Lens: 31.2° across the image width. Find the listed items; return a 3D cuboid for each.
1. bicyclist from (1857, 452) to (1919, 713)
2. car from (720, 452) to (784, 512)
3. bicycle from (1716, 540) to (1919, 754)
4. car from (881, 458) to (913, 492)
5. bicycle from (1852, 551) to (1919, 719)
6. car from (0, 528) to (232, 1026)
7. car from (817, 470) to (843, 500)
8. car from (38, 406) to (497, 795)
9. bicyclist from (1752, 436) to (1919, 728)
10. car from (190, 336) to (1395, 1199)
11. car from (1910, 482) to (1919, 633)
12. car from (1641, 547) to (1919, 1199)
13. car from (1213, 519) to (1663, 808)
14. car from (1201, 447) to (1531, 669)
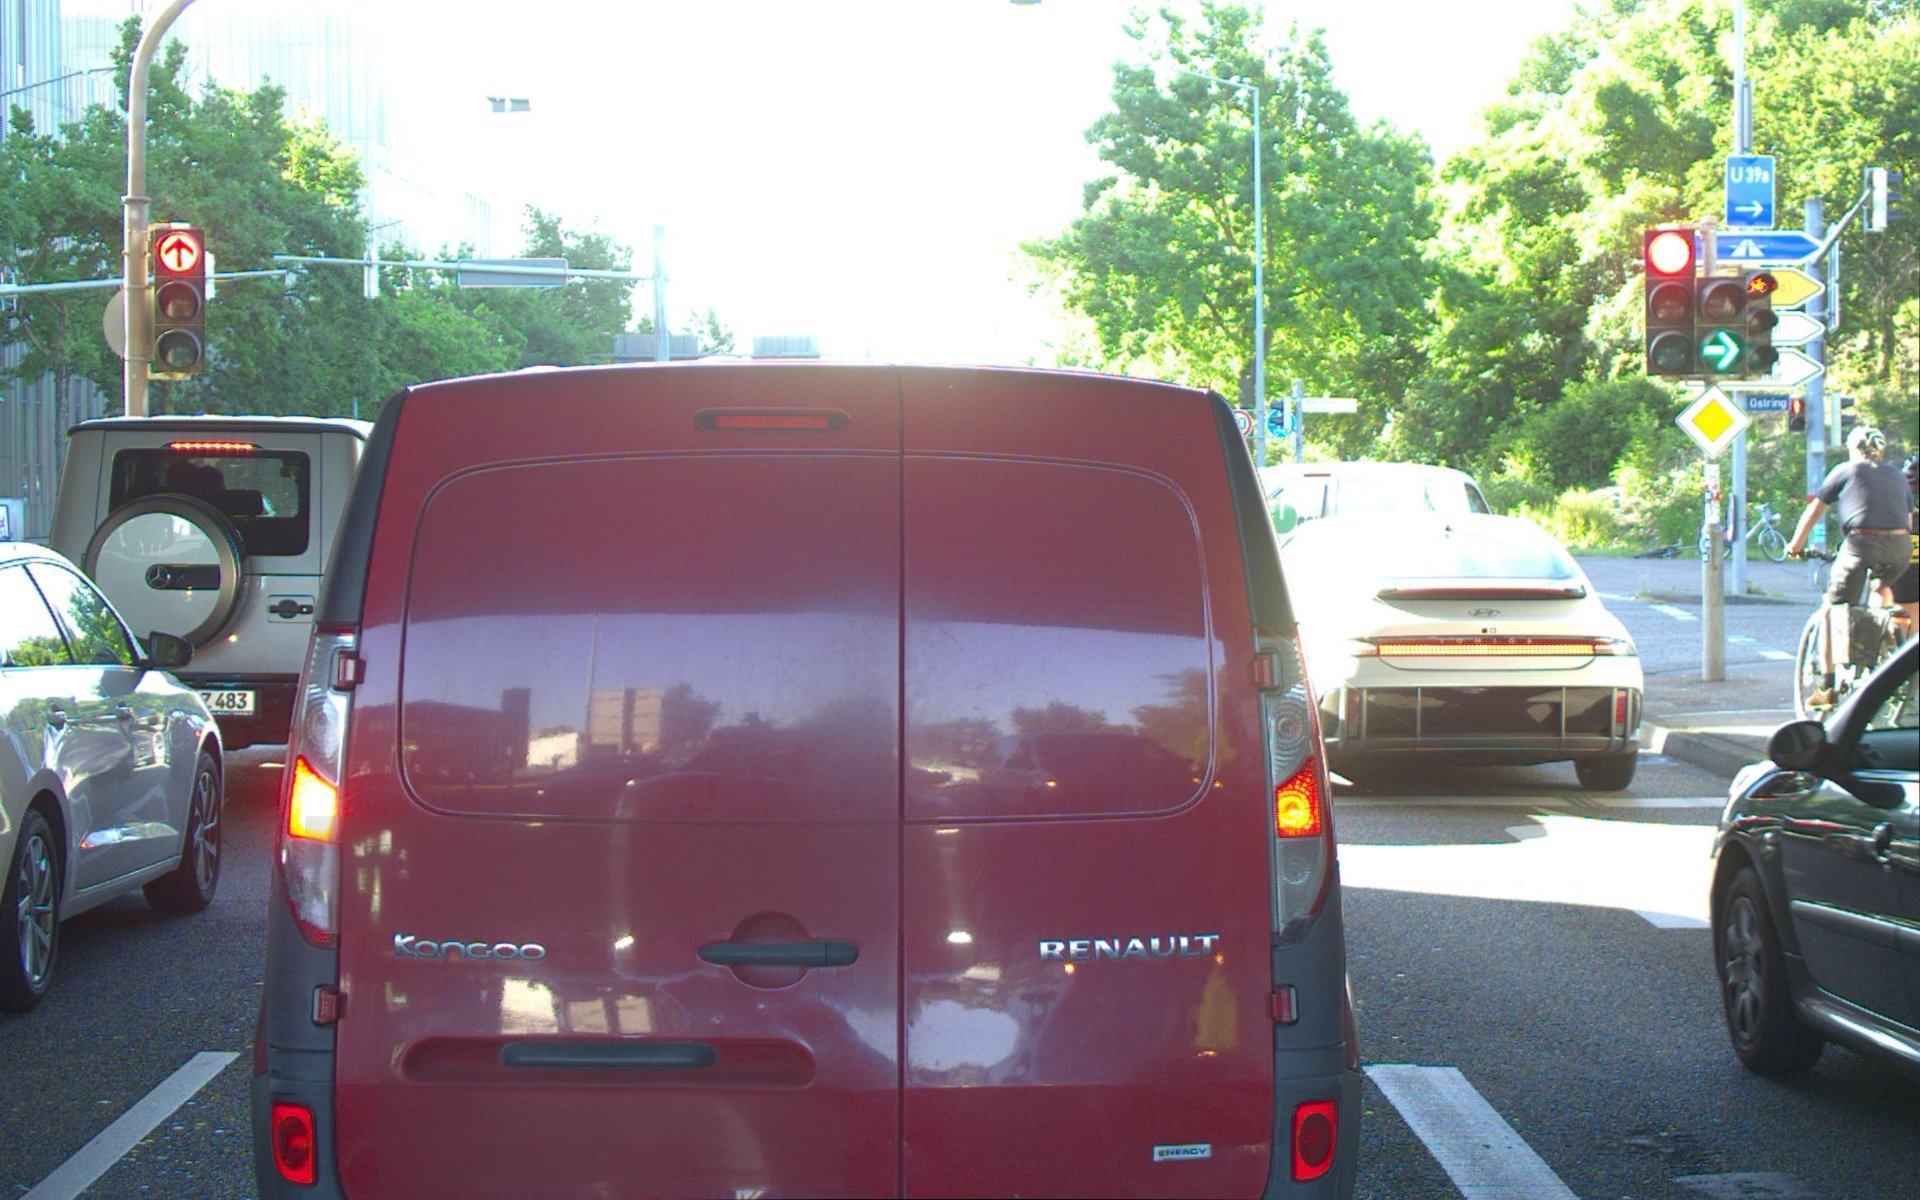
[{"bbox_3d":[6.061,-0.108,21.723,0.677,1.623,0.644,1,0,10],"label":"bicyclist"},{"bbox_3d":[-7.296,-4.126,120.844,1.993,2.007,4.000,1,1,-1],"label":"car"},{"bbox_3d":[5.121,0.235,20.095,0.765,1.142,2.470,-2,1,-1],"label":"bicycle"},{"bbox_3d":[-4.022,-7.999,220.570,1.993,2.007,4.000,1,1,-1],"label":"car"},{"bbox_3d":[6.071,0.210,21.779,0.677,1.020,1.528,1,1,10],"label":"bicycle"},{"bbox_3d":[-3.627,0.463,11.478,1.692,1.405,3.814,1,1,-2],"label":"car"},{"bbox_3d":[-9.180,-8.139,242.801,1.748,2.007,3.845,1,1,-1],"label":"car"},{"bbox_3d":[-3.667,-0.035,18.837,1.813,1.897,3.814,1,1,-1],"label":"car"},{"bbox_3d":[5.103,-0.108,19.976,0.746,1.650,0.886,1,1,-1],"label":"bicyclist"},{"bbox_3d":[-0.267,0.470,6.952,1.719,1.758,4.000,1,1,-1],"label":"car"},{"bbox_3d":[12.459,-0.476,36.692,4.093,1.617,1.811,-1,2,-12],"label":"car"},{"bbox_3d":[2.960,0.620,8.155,1.745,1.451,3.717,1,1,-3],"label":"car"},{"bbox_3d":[2.607,0.277,19.820,1.745,1.451,4.665,1,1,-2],"label":"car"},{"bbox_3d":[3.724,-0.422,30.876,1.815,1.827,4.295,2,2,22],"label":"car"}]
